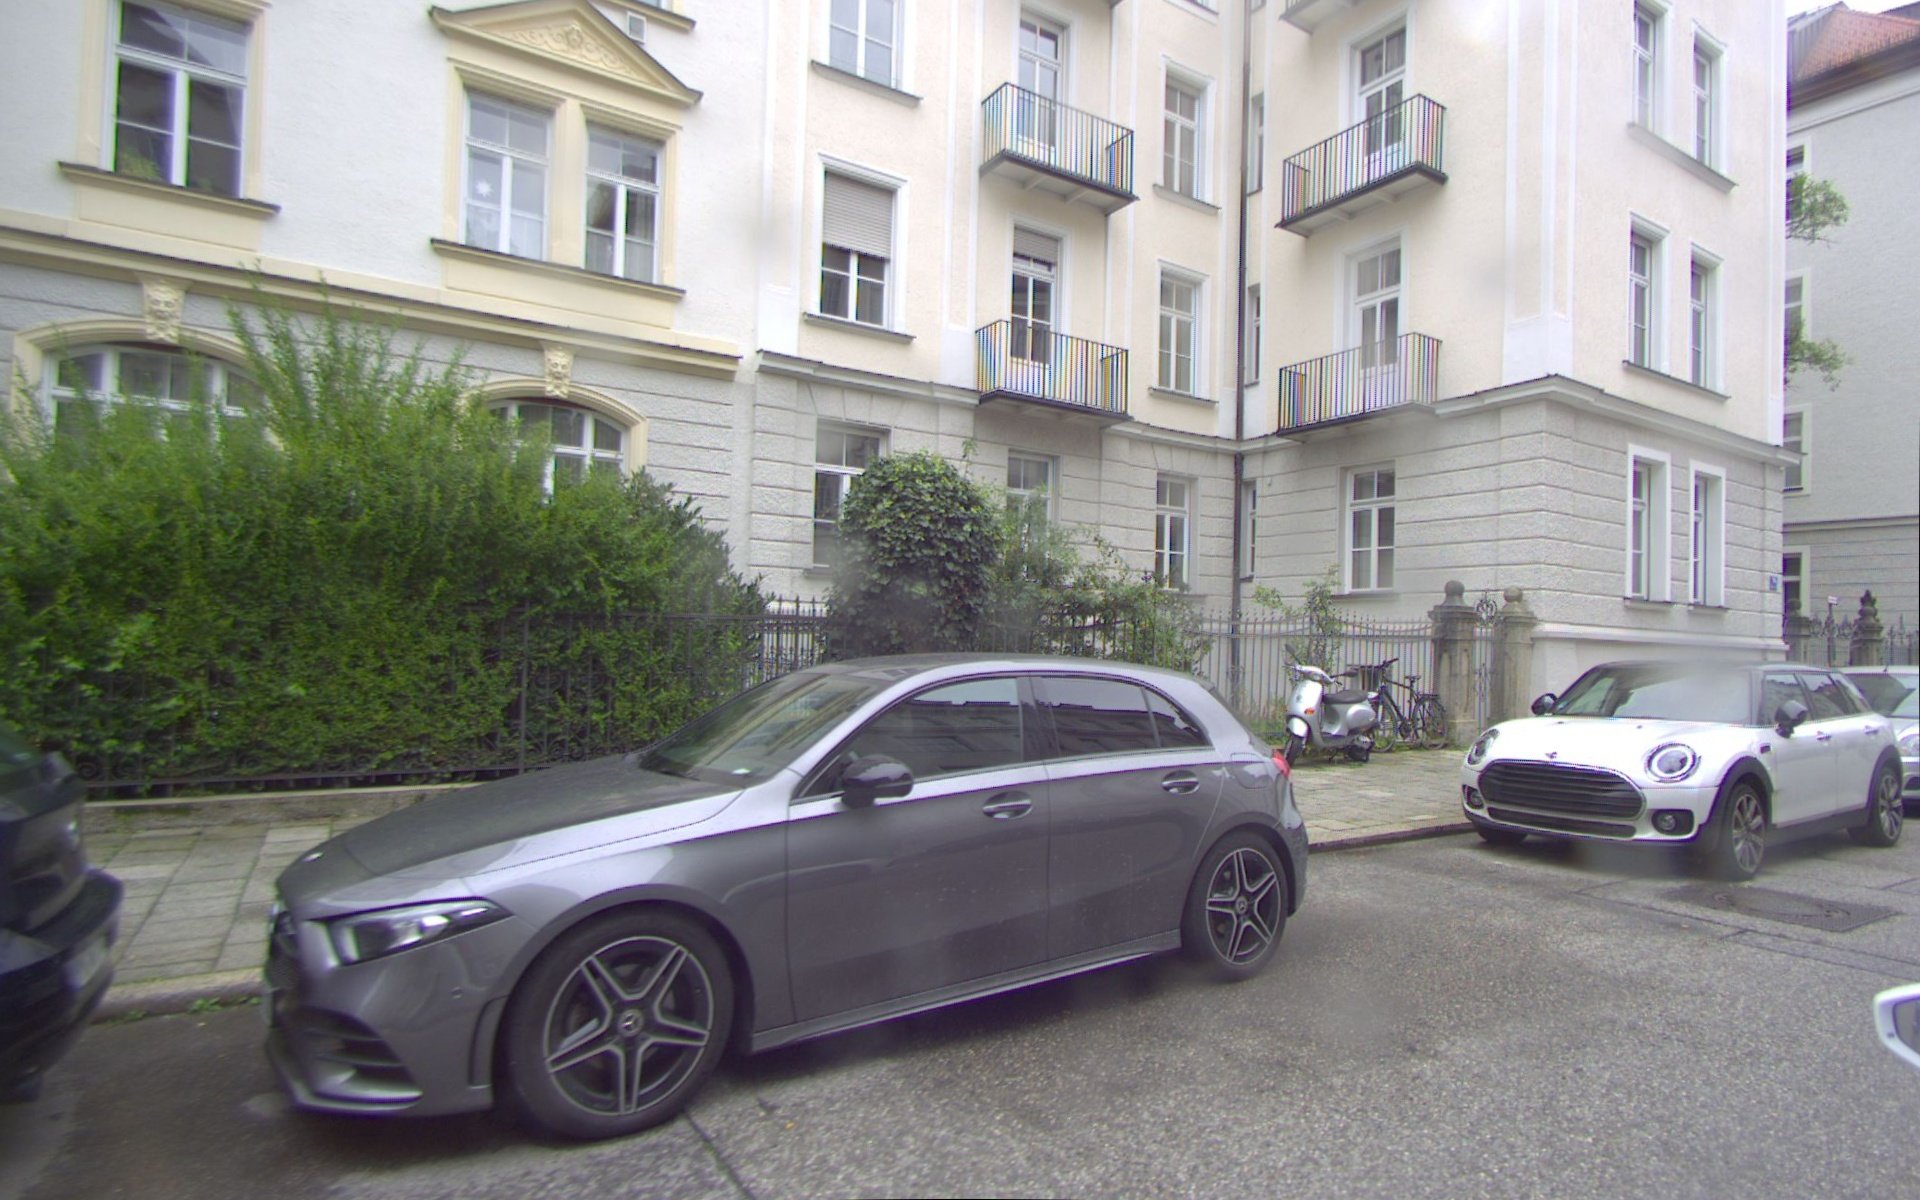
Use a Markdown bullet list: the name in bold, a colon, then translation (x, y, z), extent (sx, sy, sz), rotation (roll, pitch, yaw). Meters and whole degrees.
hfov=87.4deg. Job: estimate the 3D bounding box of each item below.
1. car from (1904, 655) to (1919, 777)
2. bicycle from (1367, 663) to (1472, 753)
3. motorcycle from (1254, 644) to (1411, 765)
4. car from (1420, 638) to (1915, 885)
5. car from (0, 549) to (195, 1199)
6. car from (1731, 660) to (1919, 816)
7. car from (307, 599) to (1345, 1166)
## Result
- **car**: translation (14.683, 1.564, 13.636), extent (4.016, 1.601, 1.688), rotation (2, -4, -31)
- **bicycle**: translation (5.928, 1.376, 12.942), extent (1.404, 1.075, 0.429), rotation (3, 2, -31)
- **motorcycle**: translation (4.324, 1.192, 11.623), extent (1.801, 1.266, 0.700), rotation (4, 0, -33)
- **car**: translation (5.712, 1.121, 7.997), extent (4.035, 1.453, 1.787), rotation (3, -2, -32)
- **car**: translation (-4.055, 0.467, 1.883), extent (3.960, 1.438, 1.757), rotation (5, -2, -34)
- **car**: translation (10.142, 1.394, 10.915), extent (3.959, 1.421, 1.635), rotation (3, -4, -34)
- **car**: translation (-0.332, 0.799, 4.367), extent (4.150, 1.382, 1.724), rotation (3, -3, -34)
